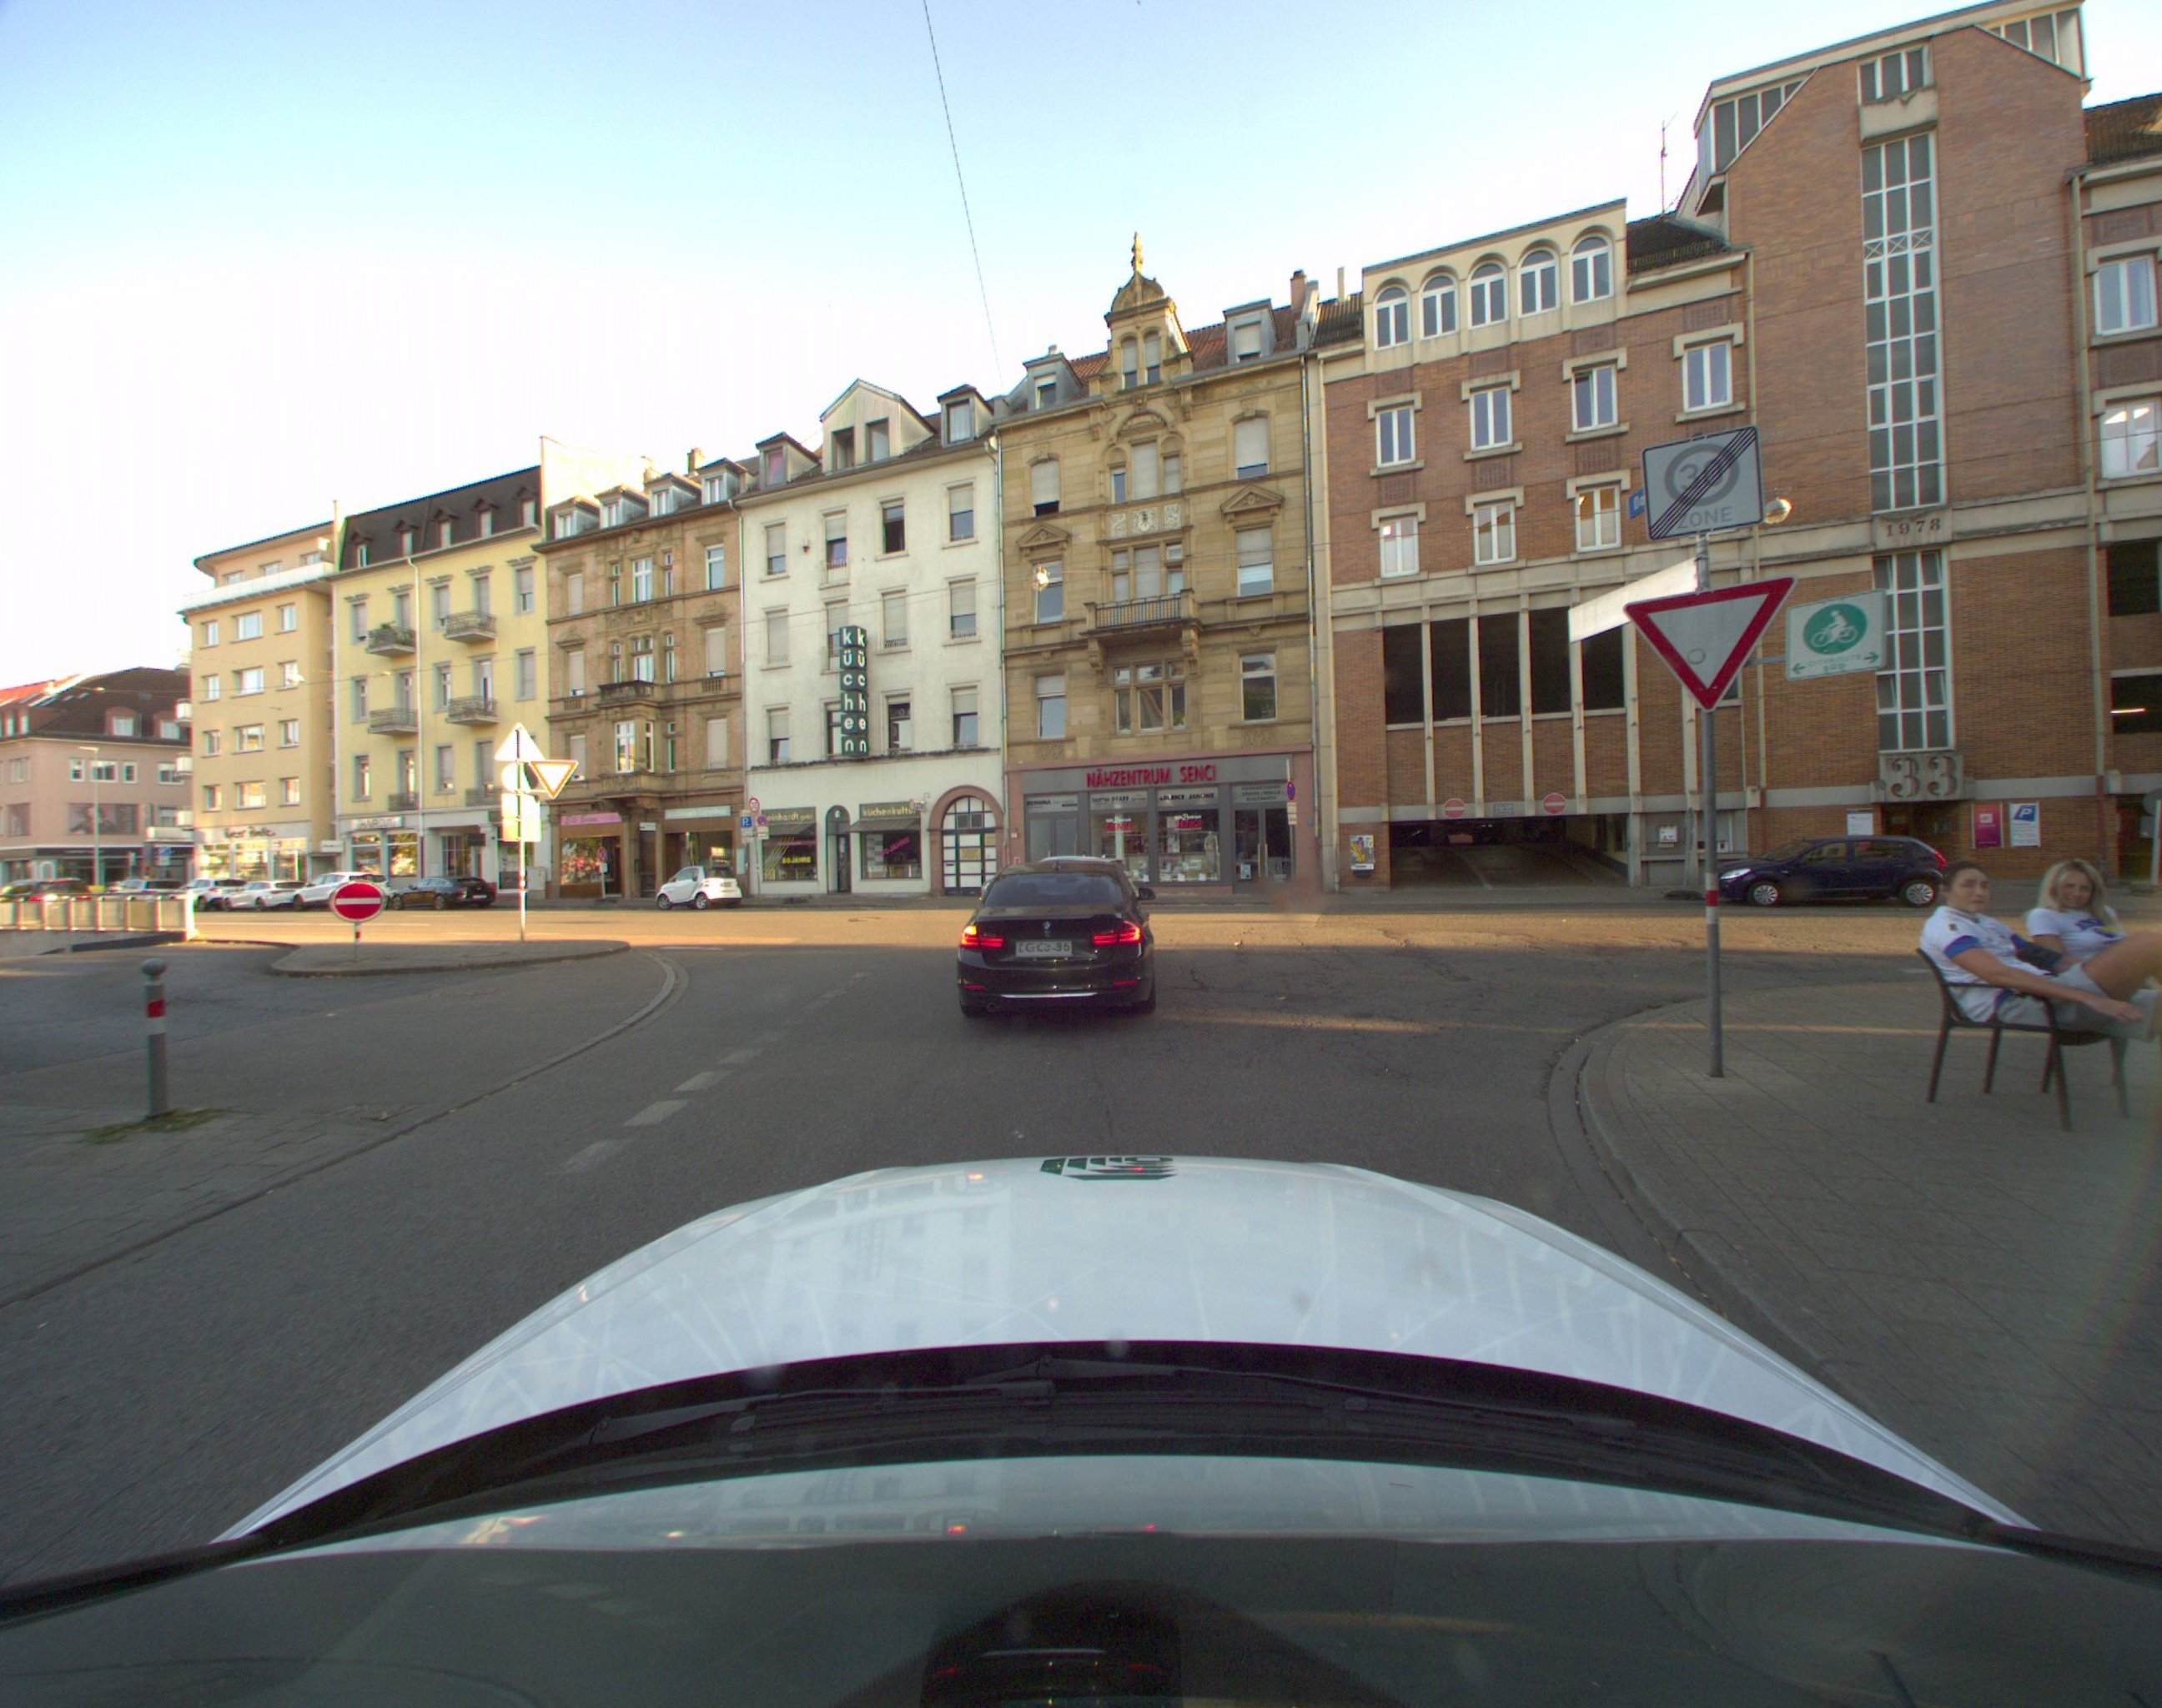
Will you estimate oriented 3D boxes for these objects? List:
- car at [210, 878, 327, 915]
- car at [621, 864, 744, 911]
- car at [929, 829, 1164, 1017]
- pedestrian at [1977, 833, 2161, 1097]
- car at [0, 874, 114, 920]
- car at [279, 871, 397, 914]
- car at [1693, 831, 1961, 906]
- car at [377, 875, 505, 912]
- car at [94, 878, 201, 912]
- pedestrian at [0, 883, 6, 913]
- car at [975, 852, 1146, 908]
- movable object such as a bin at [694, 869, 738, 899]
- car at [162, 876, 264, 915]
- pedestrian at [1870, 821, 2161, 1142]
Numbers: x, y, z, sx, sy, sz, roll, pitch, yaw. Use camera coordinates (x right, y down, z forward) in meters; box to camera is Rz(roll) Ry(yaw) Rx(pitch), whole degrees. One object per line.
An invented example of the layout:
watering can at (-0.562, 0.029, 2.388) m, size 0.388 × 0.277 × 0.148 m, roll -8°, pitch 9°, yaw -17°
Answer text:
car at (-37.596, 1.935, 37.682) m, size 4.811 × 1.543 × 2.033 m, roll 0°, pitch 0°, yaw 21°
car at (-14.284, 1.158, 29.226) m, size 3.952 × 1.585 × 1.714 m, roll 0°, pitch 0°, yaw 21°
car at (-0.135, 0.599, 8.719) m, size 1.880 × 1.492 × 4.209 m, roll -1°, pitch -1°, yaw 4°
pedestrian at (5.496, 0.538, 4.211) m, size 0.687 × 1.282 × 0.959 m, roll -1°, pitch -2°, yaw -28°
car at (-42.384, 1.755, 33.584) m, size 3.952 × 1.750 × 2.010 m, roll -2°, pitch -1°, yaw 21°
car at (-32.412, 1.633, 35.522) m, size 4.604 × 1.745 × 1.898 m, roll 0°, pitch 0°, yaw 21°
car at (16.429, 0.311, 18.227) m, size 3.952 × 1.520 × 2.011 m, roll -1°, pitch 0°, yaw 21°
car at (-26.736, 1.639, 34.015) m, size 4.792 × 1.434 × 2.010 m, roll -2°, pitch -1°, yaw 21°
car at (-48.364, 2.112, 42.202) m, size 4.748 × 1.613 × 2.010 m, roll -2°, pitch -1°, yaw 19°
pedestrian at (-63.132, 2.552, 47.175) m, size 0.803 × 1.721 × 0.800 m, roll -2°, pitch -1°, yaw 14°
car at (-0.592, 0.738, 24.170) m, size 4.628 × 1.535 × 2.010 m, roll 0°, pitch 0°, yaw 20°
movable object such as a bin at (-14.690, 1.208, 32.764) m, size 1.382 × 1.186 × 0.873 m, roll -2°, pitch -1°, yaw 21°
car at (-42.610, 2.018, 39.985) m, size 4.356 × 1.762 × 1.883 m, roll 0°, pitch 0°, yaw 21°
pedestrian at (4.705, 0.556, 4.083) m, size 0.773 × 1.382 × 0.831 m, roll -2°, pitch -1°, yaw -29°
